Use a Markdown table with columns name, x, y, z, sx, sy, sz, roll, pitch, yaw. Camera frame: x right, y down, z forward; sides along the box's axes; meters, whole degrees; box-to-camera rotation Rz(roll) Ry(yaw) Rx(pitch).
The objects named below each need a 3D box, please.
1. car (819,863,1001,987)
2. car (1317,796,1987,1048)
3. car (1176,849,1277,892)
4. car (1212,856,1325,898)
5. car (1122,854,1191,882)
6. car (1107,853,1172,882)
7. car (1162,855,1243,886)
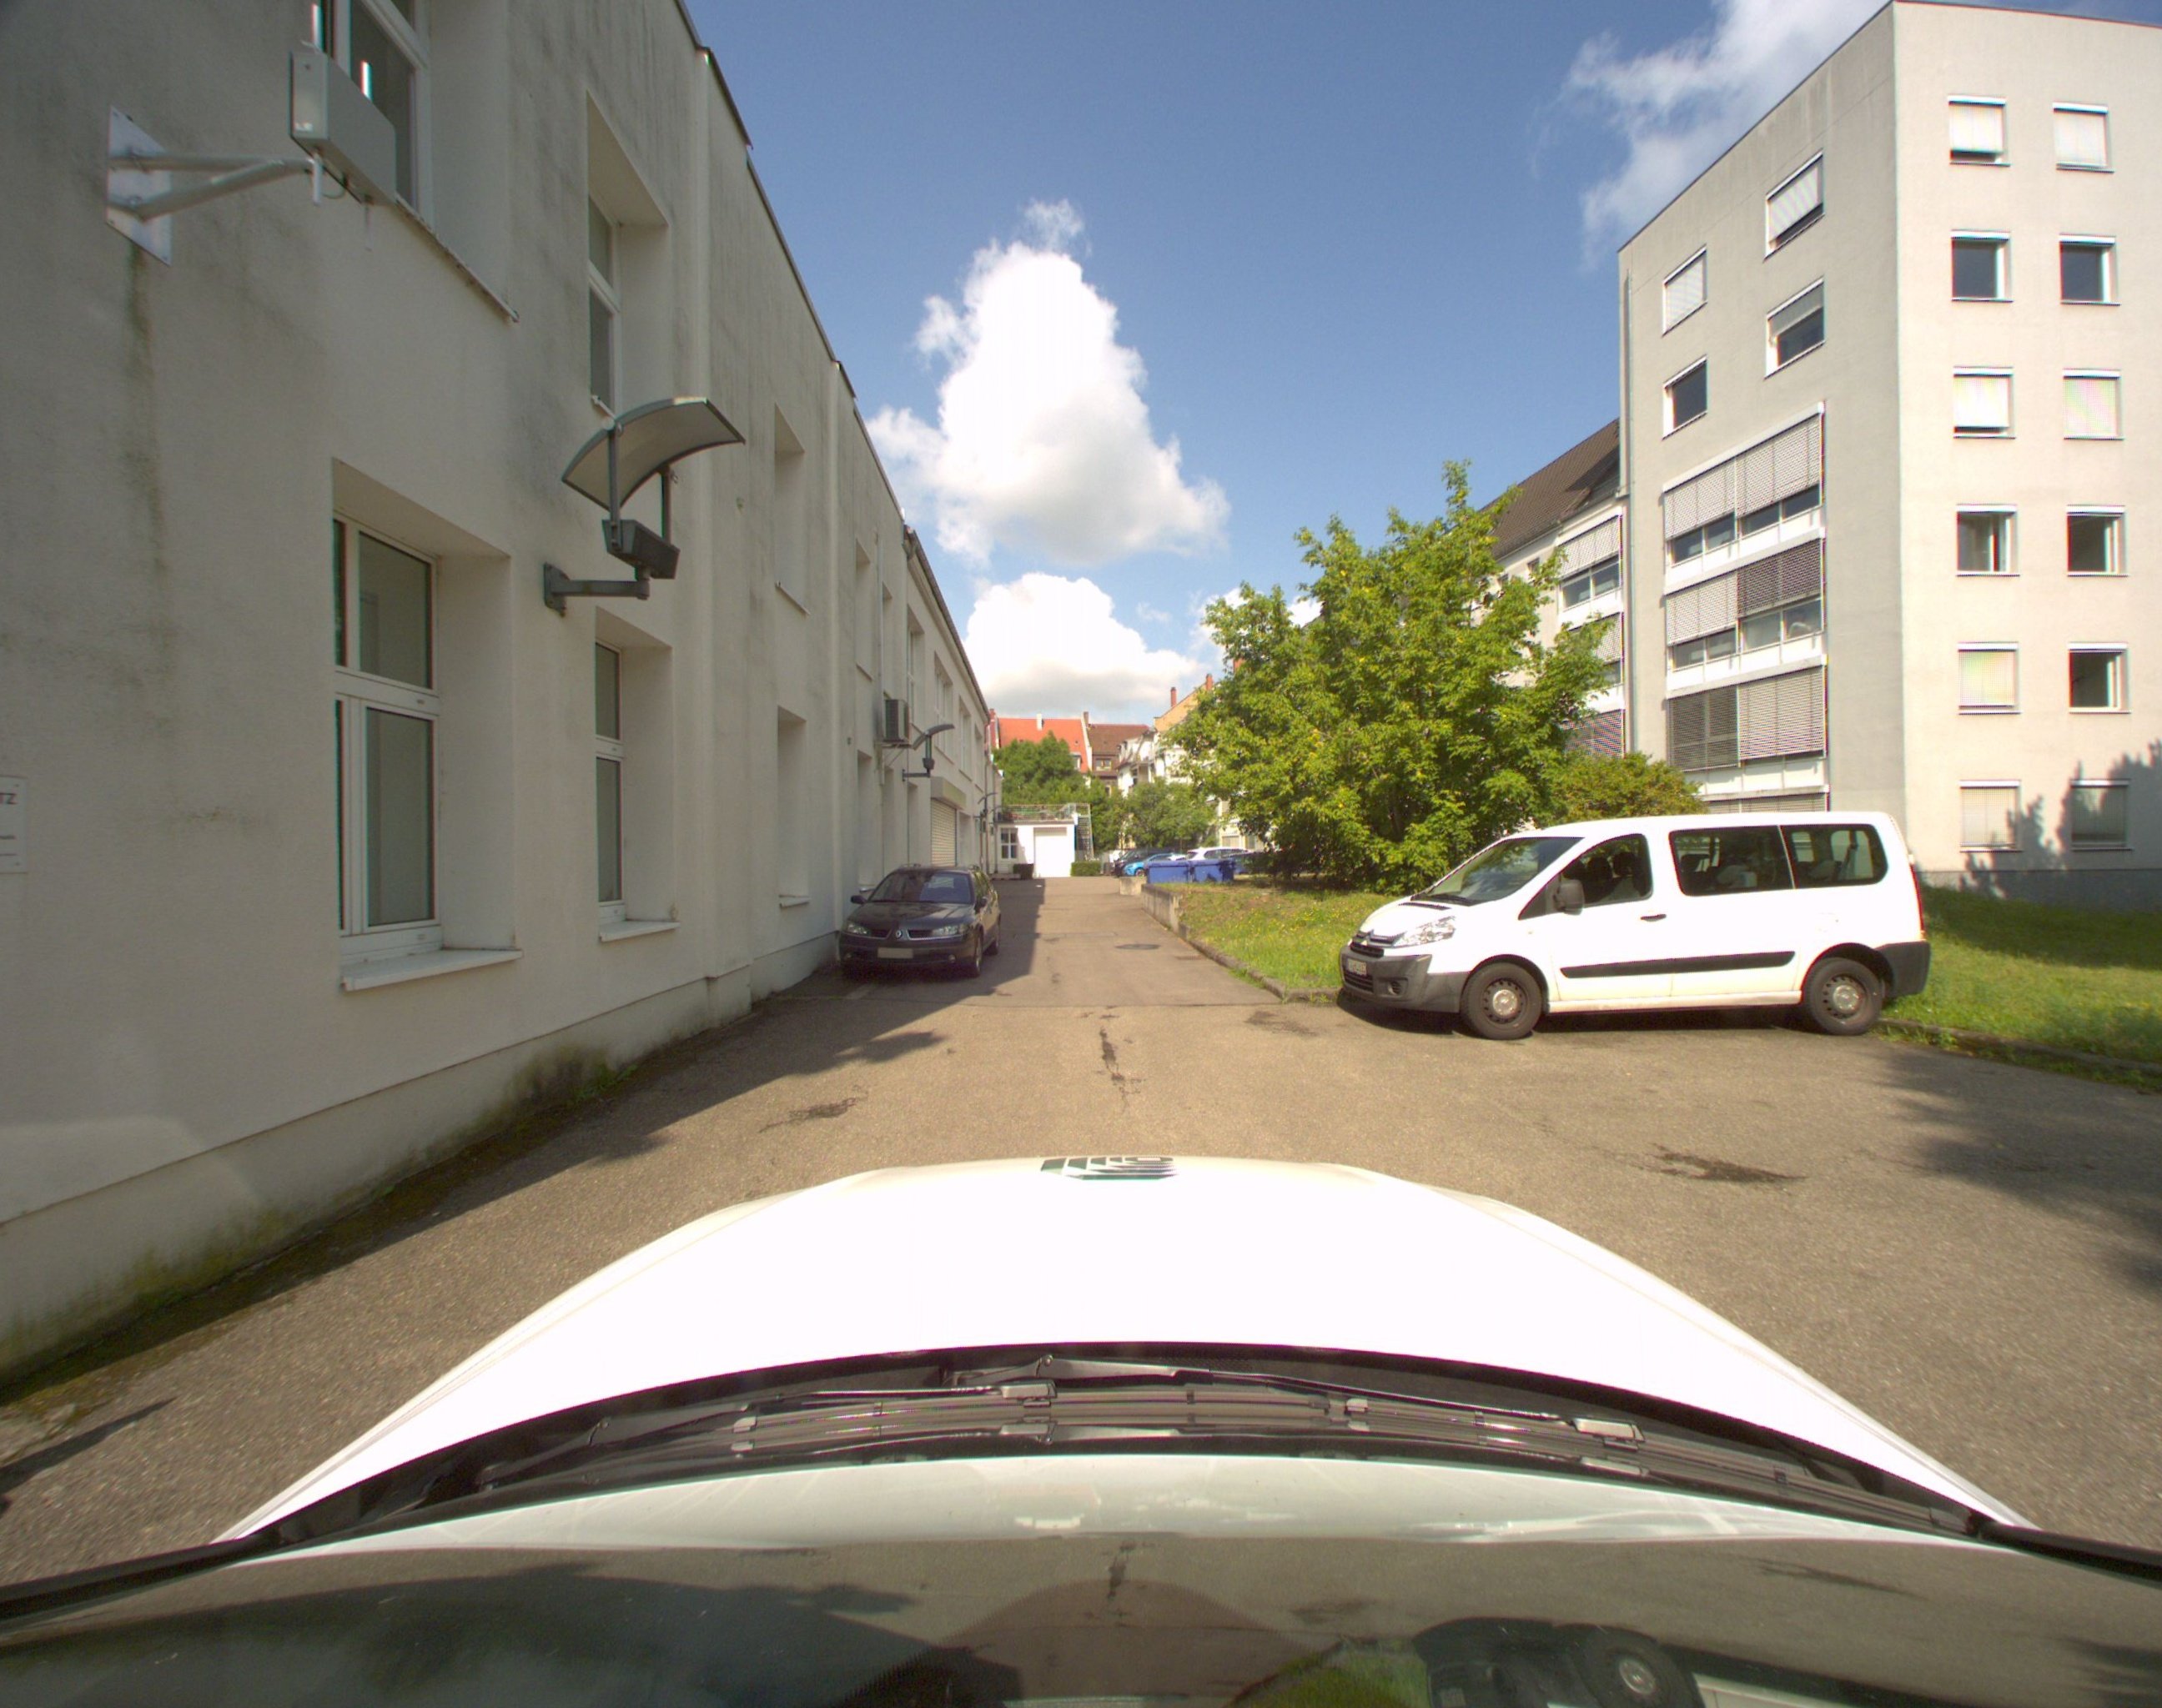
| name | x | y | z | sx | sy | sz | roll | pitch | yaw |
| --- | --- | --- | --- | --- | --- | --- | --- | --- | --- |
| car | -2.214 | 0.924 | 11.744 | 1.875 | 1.442 | 4.335 | 0 | -2 | -3 |
| car | 4.998 | 0.583 | 7.696 | 4.925 | 1.965 | 1.998 | -1 | -3 | -2 |
| car | 6.355 | 0.674 | 35.749 | 3.985 | 1.745 | 1.944 | -1 | 1 | -9 |
| car | 7.591 | 0.937 | 33.102 | 4.110 | 1.606 | 1.750 | 1 | 0 | -9 |
| car | 4.677 | 0.870 | 50.700 | 3.985 | 1.573 | 1.624 | -2 | 2 | -9 |
| car | 3.815 | 0.870 | 53.419 | 3.985 | 1.817 | 1.659 | 1 | 0 | -9 |
| car | 6.494 | 0.856 | 43.669 | 3.985 | 1.444 | 1.624 | -2 | 2 | -9 |
